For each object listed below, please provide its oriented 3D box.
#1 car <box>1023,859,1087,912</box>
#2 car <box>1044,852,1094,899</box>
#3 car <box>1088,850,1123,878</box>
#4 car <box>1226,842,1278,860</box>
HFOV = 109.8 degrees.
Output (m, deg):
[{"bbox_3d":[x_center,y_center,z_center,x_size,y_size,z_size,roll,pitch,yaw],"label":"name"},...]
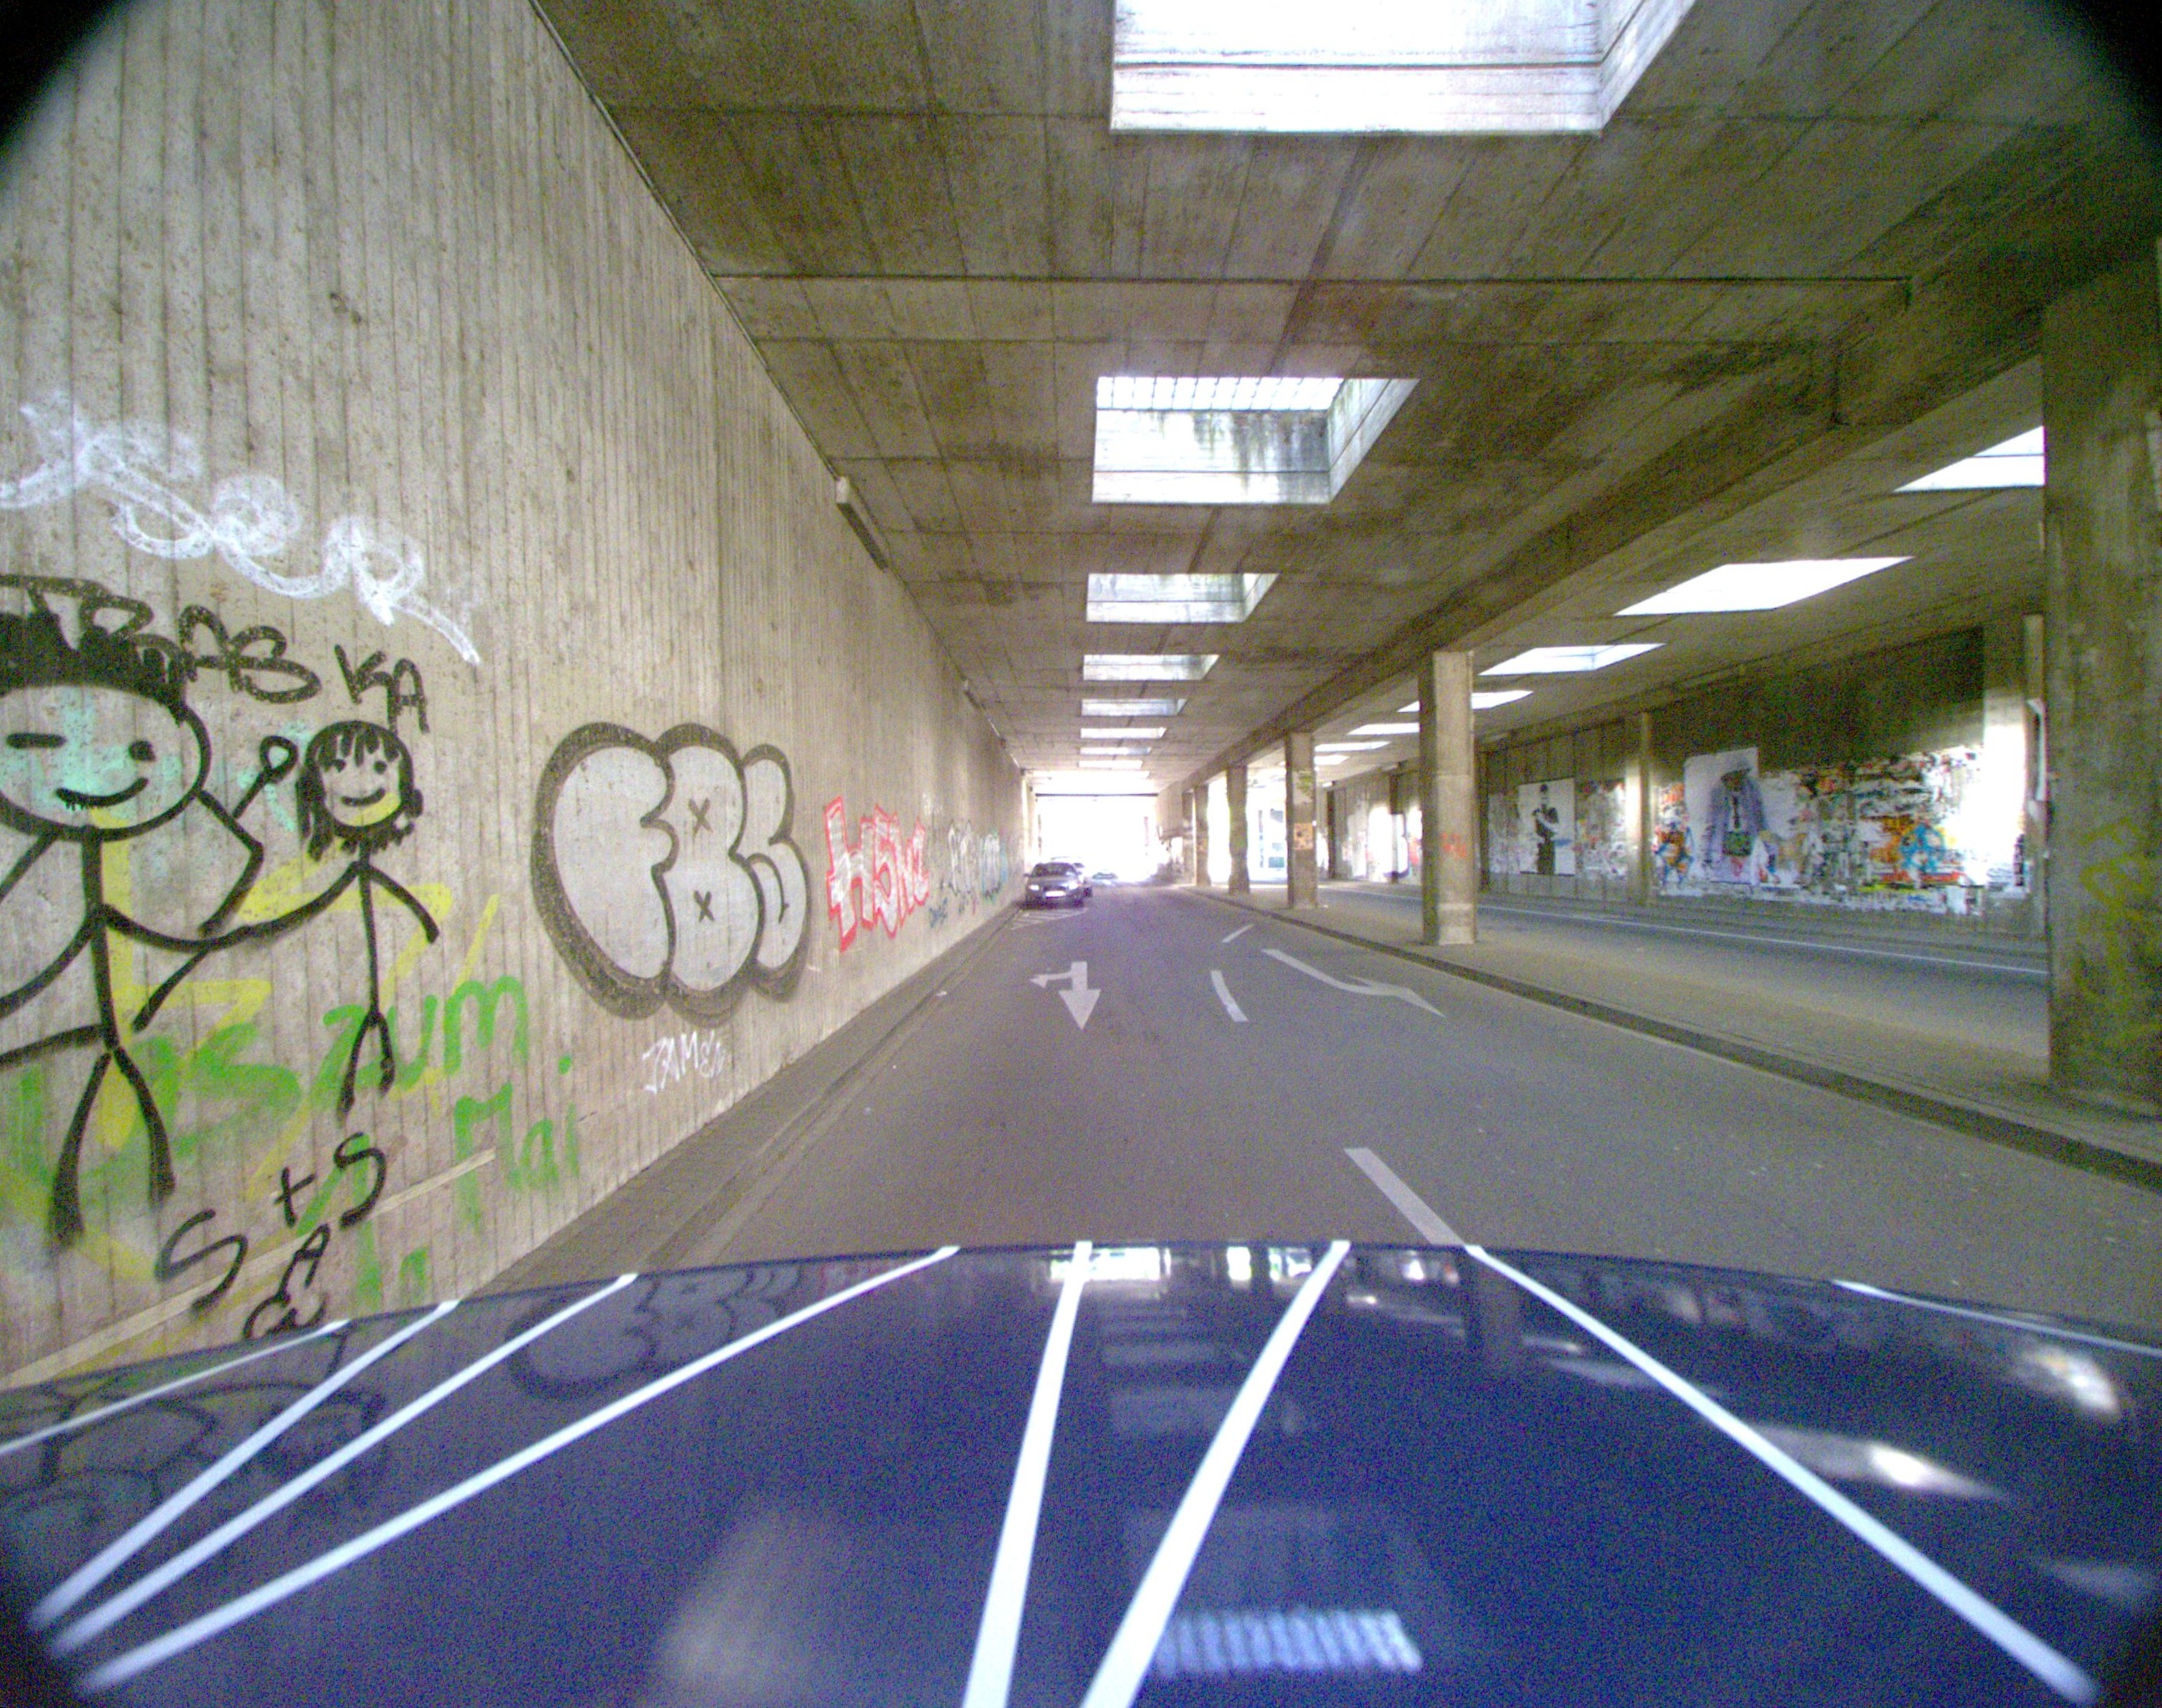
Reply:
[{"bbox_3d":[-0.734,0.921,24.017,1.767,1.407,3.999,-2,1,1],"label":"car"},{"bbox_3d":[-0.497,0.768,29.837,1.767,1.634,3.999,-2,1,-2],"label":"car"},{"bbox_3d":[1.628,0.637,52.361,1.999,1.740,4.858,-2,1,-2],"label":"car"},{"bbox_3d":[17.811,-0.320,79.287,4.857,1.740,1.999,-2,1,-2],"label":"car"}]
